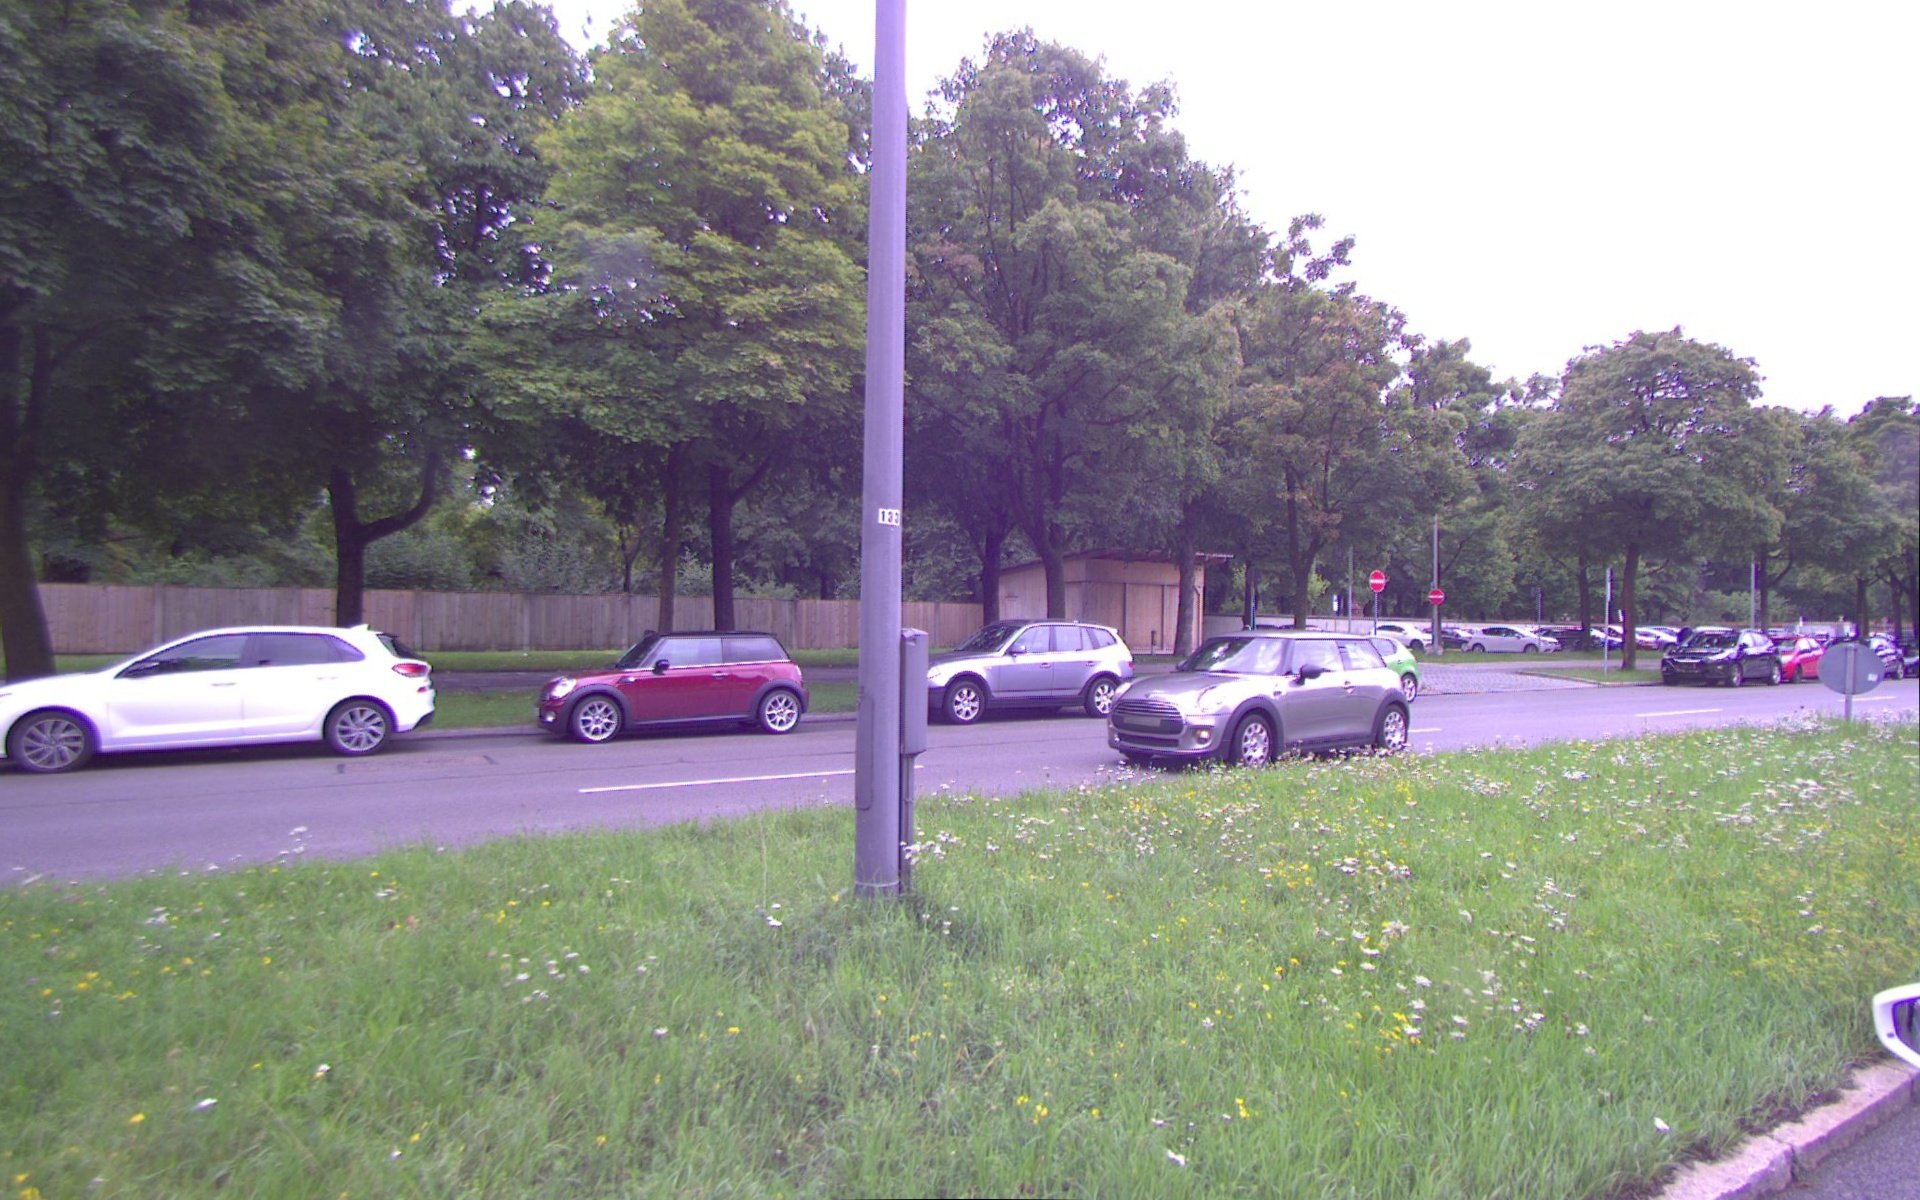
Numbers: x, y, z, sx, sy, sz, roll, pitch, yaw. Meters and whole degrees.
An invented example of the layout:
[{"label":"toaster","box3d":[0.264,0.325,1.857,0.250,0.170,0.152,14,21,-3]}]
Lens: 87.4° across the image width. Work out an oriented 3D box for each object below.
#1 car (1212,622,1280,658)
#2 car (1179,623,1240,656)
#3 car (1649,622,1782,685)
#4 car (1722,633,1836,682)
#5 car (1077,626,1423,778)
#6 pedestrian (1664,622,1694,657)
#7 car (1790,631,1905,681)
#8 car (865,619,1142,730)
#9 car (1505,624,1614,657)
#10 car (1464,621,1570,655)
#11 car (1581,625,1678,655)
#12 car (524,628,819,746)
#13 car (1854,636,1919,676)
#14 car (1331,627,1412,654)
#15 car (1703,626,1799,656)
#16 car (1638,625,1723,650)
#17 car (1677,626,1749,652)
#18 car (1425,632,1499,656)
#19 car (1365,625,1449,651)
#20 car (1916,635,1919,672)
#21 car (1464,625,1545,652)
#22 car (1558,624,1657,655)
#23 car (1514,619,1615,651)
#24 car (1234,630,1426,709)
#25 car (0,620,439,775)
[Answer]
[{"label":"car","box3d":[12.201,1.691,43.141,1.822,1.428,3.859,1,-1,0]},{"label":"car","box3d":[11.831,1.846,47.904,1.822,1.428,4.469,1,-1,0]},{"label":"car","box3d":[22.635,1.607,30.044,4.193,1.722,1.811,3,-1,-32]},{"label":"car","box3d":[26.901,1.884,32.982,3.768,1.499,1.811,3,-1,-32]},{"label":"car","box3d":[3.246,1.022,11.052,3.730,1.400,1.707,2,-3,-35]},{"label":"pedestrian","box3d":[31.729,1.733,44.342,0.846,1.515,0.791,1,-1,-30]},{"label":"car","box3d":[31.043,1.930,35.104,4.063,1.620,1.813,2,-1,-30]},{"label":"car","box3d":[0.786,1.173,16.858,4.406,1.652,1.812,1,-2,-31]},{"label":"car","box3d":[29.066,1.922,48.823,1.978,1.461,4.111,1,-1,-32]},{"label":"car","box3d":[26.352,1.763,47.594,1.981,1.461,3.960,1,-1,-36]},{"label":"car","box3d":[36.379,2.145,54.659,1.981,1.461,3.960,1,-1,-36]},{"label":"car","box3d":[-3.960,1.141,13.904,3.643,1.440,1.642,1,-3,-30]},{"label":"car","box3d":[35.843,2.094,38.002,3.951,1.428,1.814,1,-3,-29]},{"label":"car","box3d":[25.369,2.481,62.079,1.974,1.461,4.490,1,-1,-26]},{"label":"car","box3d":[45.292,2.317,57.600,1.792,1.591,3.970,1,-1,-28]},{"label":"car","box3d":[45.403,2.341,63.325,1.981,1.461,3.960,1,-1,-36]},{"label":"car","box3d":[64.133,3.341,85.614,1.977,2.061,4.483,1,-1,-31]},{"label":"car","box3d":[32.098,2.806,64.288,1.853,1.391,3.975,1,-1,-25]},{"label":"car","box3d":[27.737,2.351,62.491,1.977,1.461,4.483,1,-1,-30]},{"label":"car","box3d":[41.006,2.192,41.253,3.960,1.466,1.810,2,-3,-35]},{"label":"car","box3d":[37.088,2.599,68.511,1.977,1.647,4.483,1,-1,-31]},{"label":"car","box3d":[33.790,2.031,52.500,1.981,1.461,3.960,1,-1,-36]},{"label":"car","box3d":[30.743,1.762,51.160,1.981,1.461,3.960,1,-1,-36]},{"label":"car","box3d":[7.770,1.405,21.012,3.953,1.519,1.633,1,-2,-30]},{"label":"car","box3d":[-8.313,1.021,11.370,4.209,1.496,1.813,1,-3,-30]}]
